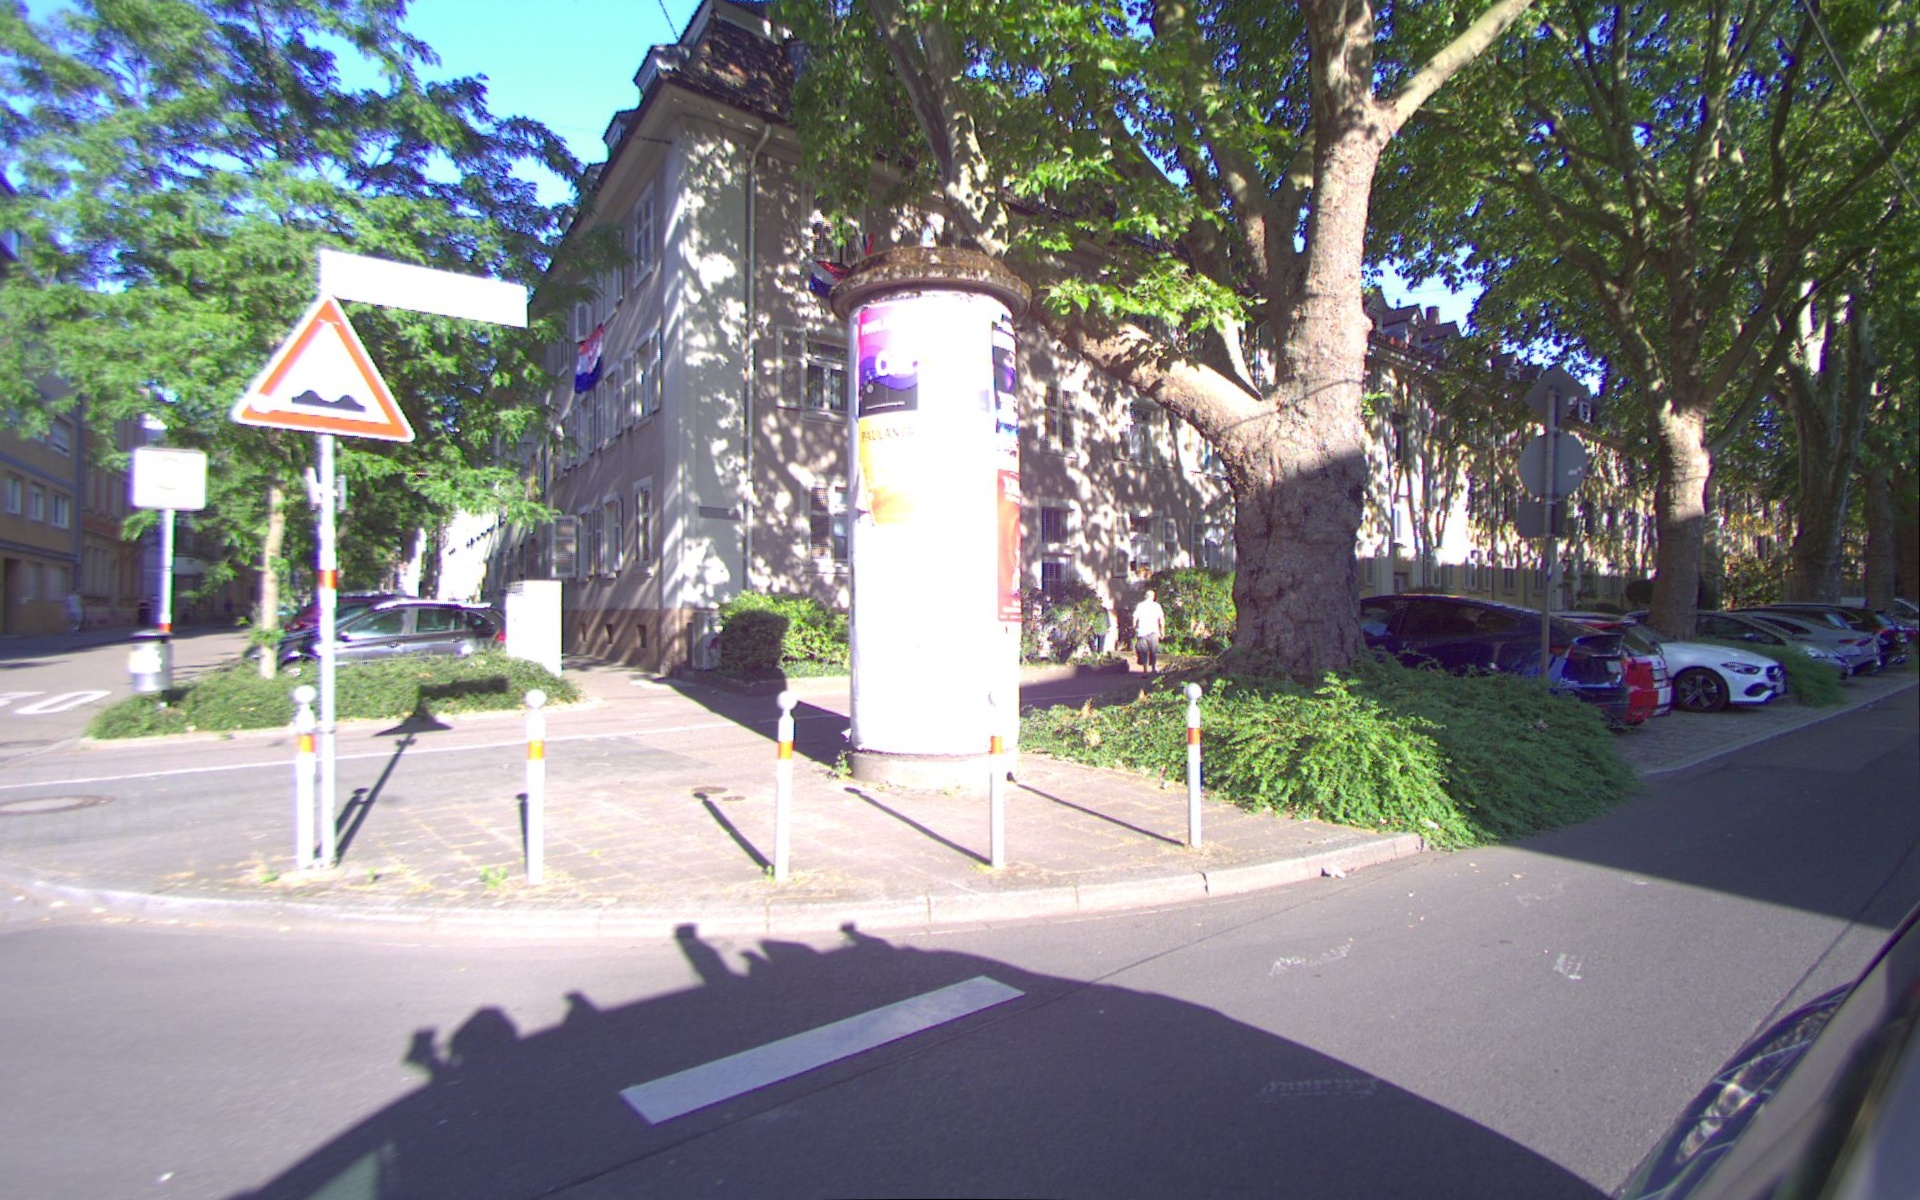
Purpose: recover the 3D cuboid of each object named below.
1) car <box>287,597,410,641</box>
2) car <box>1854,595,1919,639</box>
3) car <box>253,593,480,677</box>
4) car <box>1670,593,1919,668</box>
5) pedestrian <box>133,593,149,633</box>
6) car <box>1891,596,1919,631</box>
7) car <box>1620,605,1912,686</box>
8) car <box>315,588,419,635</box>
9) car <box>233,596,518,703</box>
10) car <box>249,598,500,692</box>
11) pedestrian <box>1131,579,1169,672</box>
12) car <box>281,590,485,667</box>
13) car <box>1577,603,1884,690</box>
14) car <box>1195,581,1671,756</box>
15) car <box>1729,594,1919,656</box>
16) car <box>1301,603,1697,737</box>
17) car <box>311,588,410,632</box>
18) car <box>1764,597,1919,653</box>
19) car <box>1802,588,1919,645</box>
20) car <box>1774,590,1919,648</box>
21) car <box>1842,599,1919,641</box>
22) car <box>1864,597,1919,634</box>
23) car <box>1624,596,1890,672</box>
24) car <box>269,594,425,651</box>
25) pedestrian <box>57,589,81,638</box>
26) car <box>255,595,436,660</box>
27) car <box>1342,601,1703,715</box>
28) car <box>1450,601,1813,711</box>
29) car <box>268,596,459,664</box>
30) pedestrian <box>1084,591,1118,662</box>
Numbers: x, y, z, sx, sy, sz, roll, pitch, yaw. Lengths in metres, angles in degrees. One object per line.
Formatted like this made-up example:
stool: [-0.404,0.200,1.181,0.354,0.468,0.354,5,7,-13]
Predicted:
car: [-23.209,0.691,38.509,3.921,1.603,1.731,0,0,-31]
car: [40.528,0.712,42.209,1.858,1.814,4.613,1,-1,-37]
car: [-12.249,0.670,21.076,3.921,1.603,1.731,0,0,-31]
car: [20.292,0.674,24.638,1.858,1.661,4.613,1,-1,-37]
pedestrian: [-36.710,0.584,45.366,0.512,1.770,0.490,0,-1,-34]
car: [49.544,0.708,50.250,1.858,1.737,4.613,1,-1,-37]
car: [17.139,0.891,21.750,1.858,1.513,4.613,1,-1,-37]
car: [-26.299,0.491,44.979,3.921,2.020,1.801,0,0,-31]
car: [-9.612,0.743,16.867,3.921,1.603,1.731,0,0,-31]
car: [-10.908,0.775,19.048,3.921,1.603,1.731,0,0,-31]
pedestrian: [3.692,0.488,19.686,0.630,1.790,0.620,0,-1,4]
car: [-13.077,0.604,23.090,3.921,1.603,1.731,0,0,-31]
car: [15.349,0.840,20.413,1.858,1.513,4.613,1,-1,-37]
car: [5.321,0.644,12.007,1.859,1.652,4.807,1,-1,-40]
car: [25.152,0.674,29.020,1.858,1.661,4.613,1,-1,-37]
car: [7.065,0.806,13.626,1.860,1.463,4.362,1,-1,-42]
car: [-37.193,0.589,62.918,5.198,2.643,2.144,0,-1,-31]
car: [28.193,0.749,31.555,1.858,1.661,4.613,1,-1,-37]
car: [34.401,0.587,37.504,1.858,2.039,4.638,1,-1,-37]
car: [29.944,0.605,33.304,1.858,1.814,4.613,1,-1,-37]
car: [38.738,0.798,40.765,1.858,1.661,4.613,1,-1,-37]
car: [45.793,0.731,47.637,1.858,1.737,4.613,1,-1,-37]
car: [18.524,0.725,23.736,1.858,1.586,4.613,1,-1,-37]
car: [-18.365,0.638,30.463,3.921,1.603,1.731,0,0,-31]
pedestrian: [-32.861,0.502,37.329,0.512,1.770,0.925,0,-1,-34]
car: [-16.041,0.683,26.584,3.921,1.603,1.731,0,0,-31]
car: [8.450,0.779,15.592,1.858,1.463,4.510,1,-1,-37]
car: [10.750,0.796,16.537,1.858,1.513,4.613,1,-1,-37]
car: [-14.612,0.692,24.945,3.921,1.555,1.731,0,0,-31]
pedestrian: [3.115,0.588,22.415,0.629,1.548,0.621,0,-1,-3]
